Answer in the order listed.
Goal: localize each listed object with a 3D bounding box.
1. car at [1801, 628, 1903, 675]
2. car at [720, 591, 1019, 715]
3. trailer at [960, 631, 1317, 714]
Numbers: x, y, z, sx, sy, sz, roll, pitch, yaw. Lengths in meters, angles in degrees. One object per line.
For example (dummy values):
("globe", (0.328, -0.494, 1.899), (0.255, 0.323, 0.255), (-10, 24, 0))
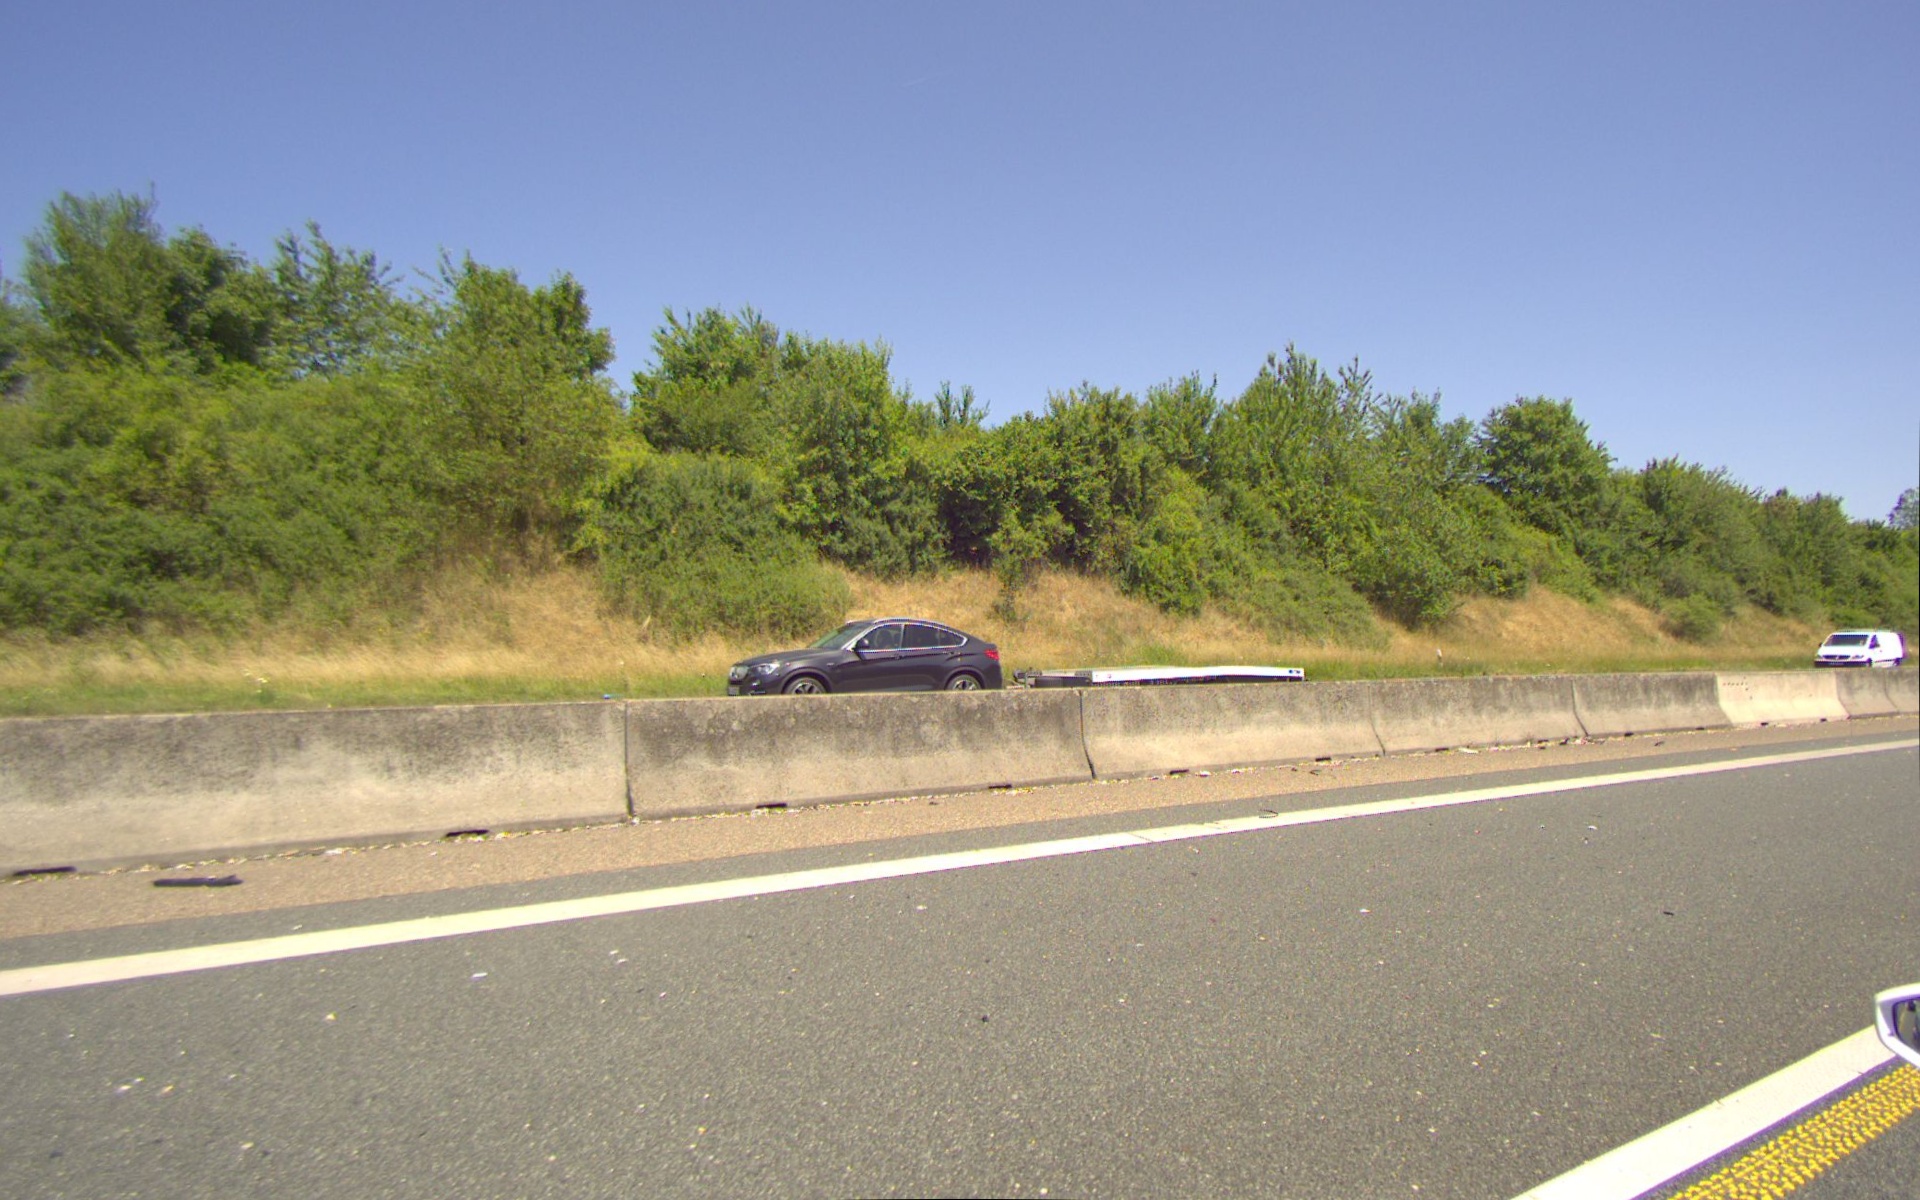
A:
("car", (41.127, 2.339, 46.287), (5.531, 2.040, 1.921), (2, -2, -31))
("car", (-1.444, 0.821, 16.556), (4.513, 1.777, 1.904), (2, 0, -31))
("trailer", (3.656, 1.342, 19.728), (7.133, 1.362, 2.345), (2, -2, -31))
